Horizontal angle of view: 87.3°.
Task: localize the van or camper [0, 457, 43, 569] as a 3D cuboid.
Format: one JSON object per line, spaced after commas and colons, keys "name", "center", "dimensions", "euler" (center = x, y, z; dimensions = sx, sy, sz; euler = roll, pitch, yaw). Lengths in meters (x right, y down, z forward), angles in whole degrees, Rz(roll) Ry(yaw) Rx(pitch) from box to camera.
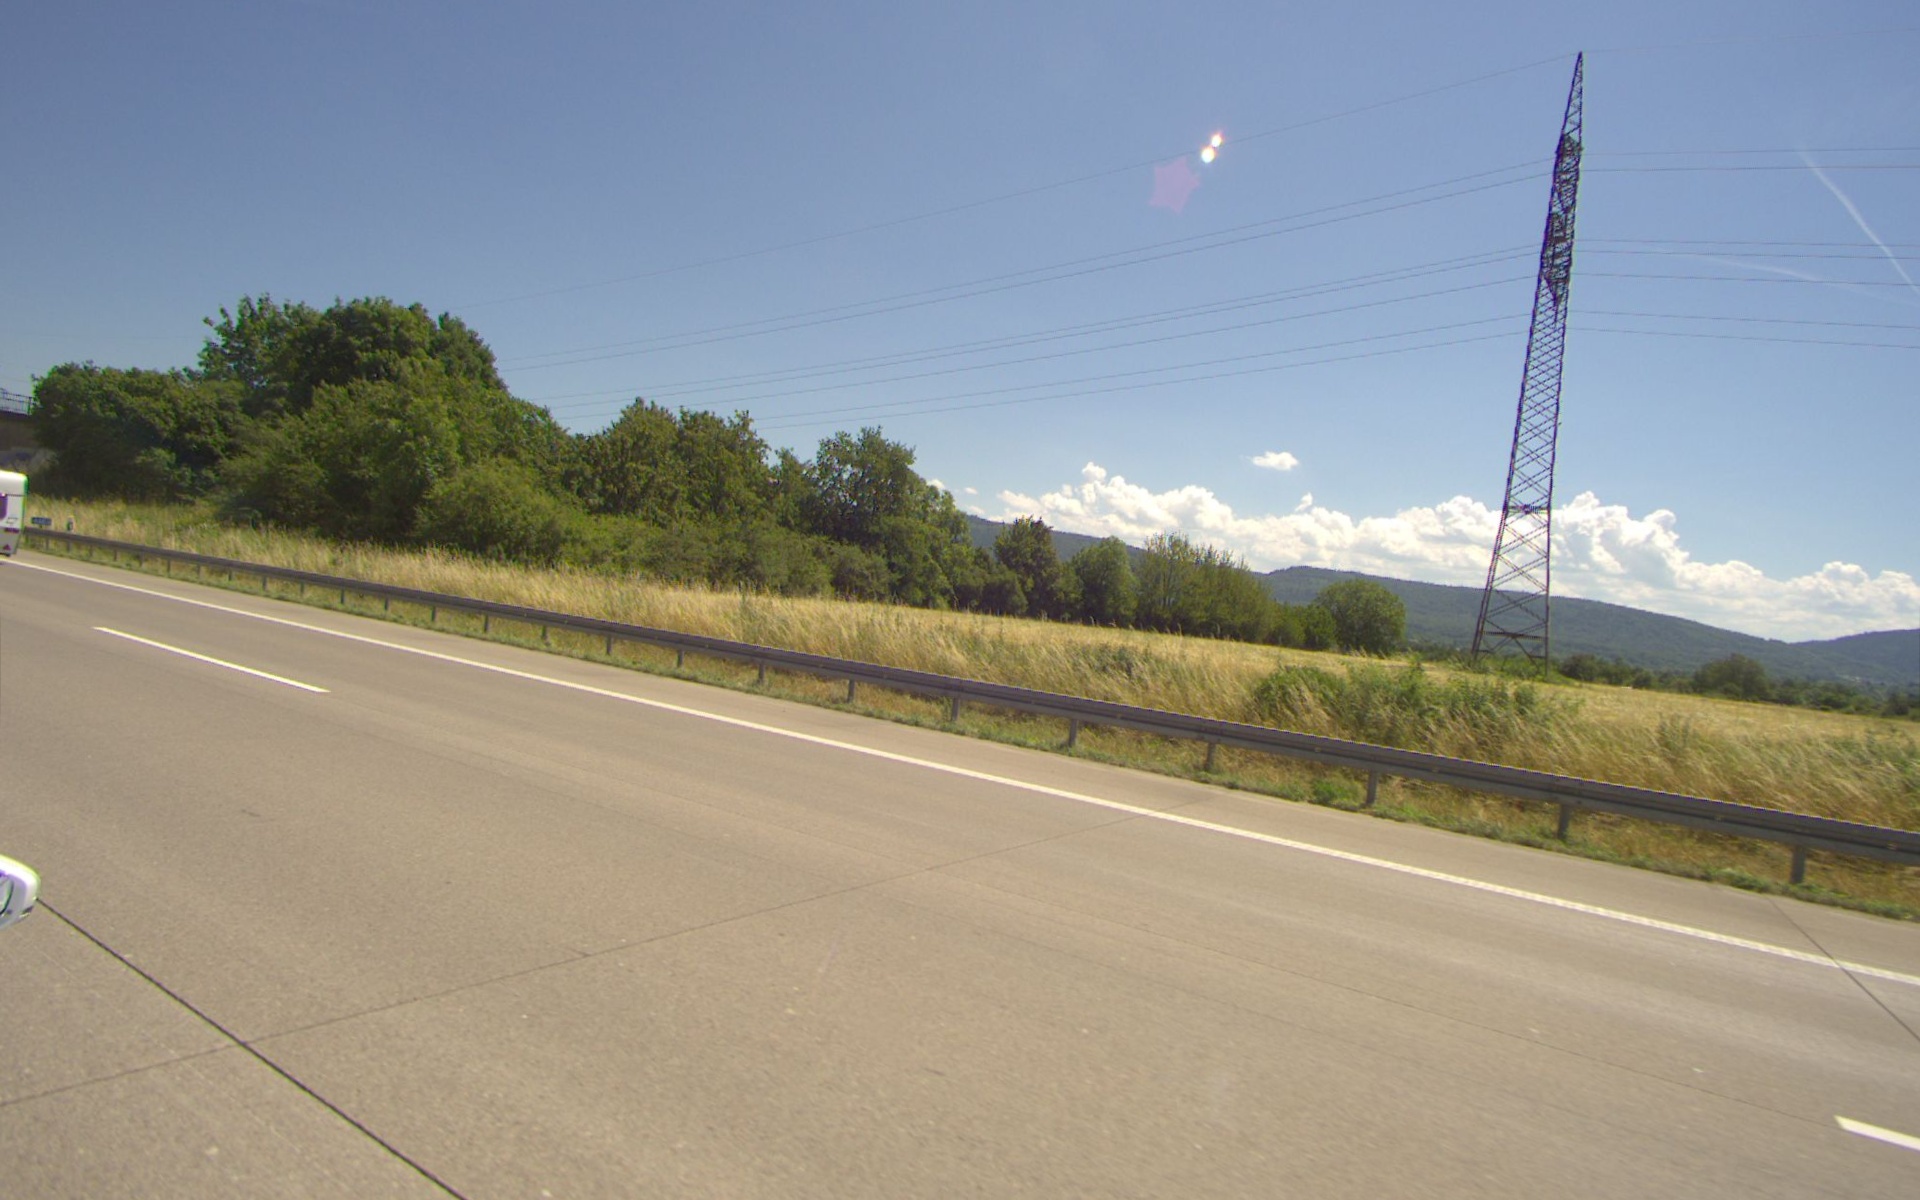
{"name": "van or camper", "center": [-25.195, -2.388, 24.809], "dimensions": [5.340, 2.560, 2.229], "euler": [7, -1, 32]}
